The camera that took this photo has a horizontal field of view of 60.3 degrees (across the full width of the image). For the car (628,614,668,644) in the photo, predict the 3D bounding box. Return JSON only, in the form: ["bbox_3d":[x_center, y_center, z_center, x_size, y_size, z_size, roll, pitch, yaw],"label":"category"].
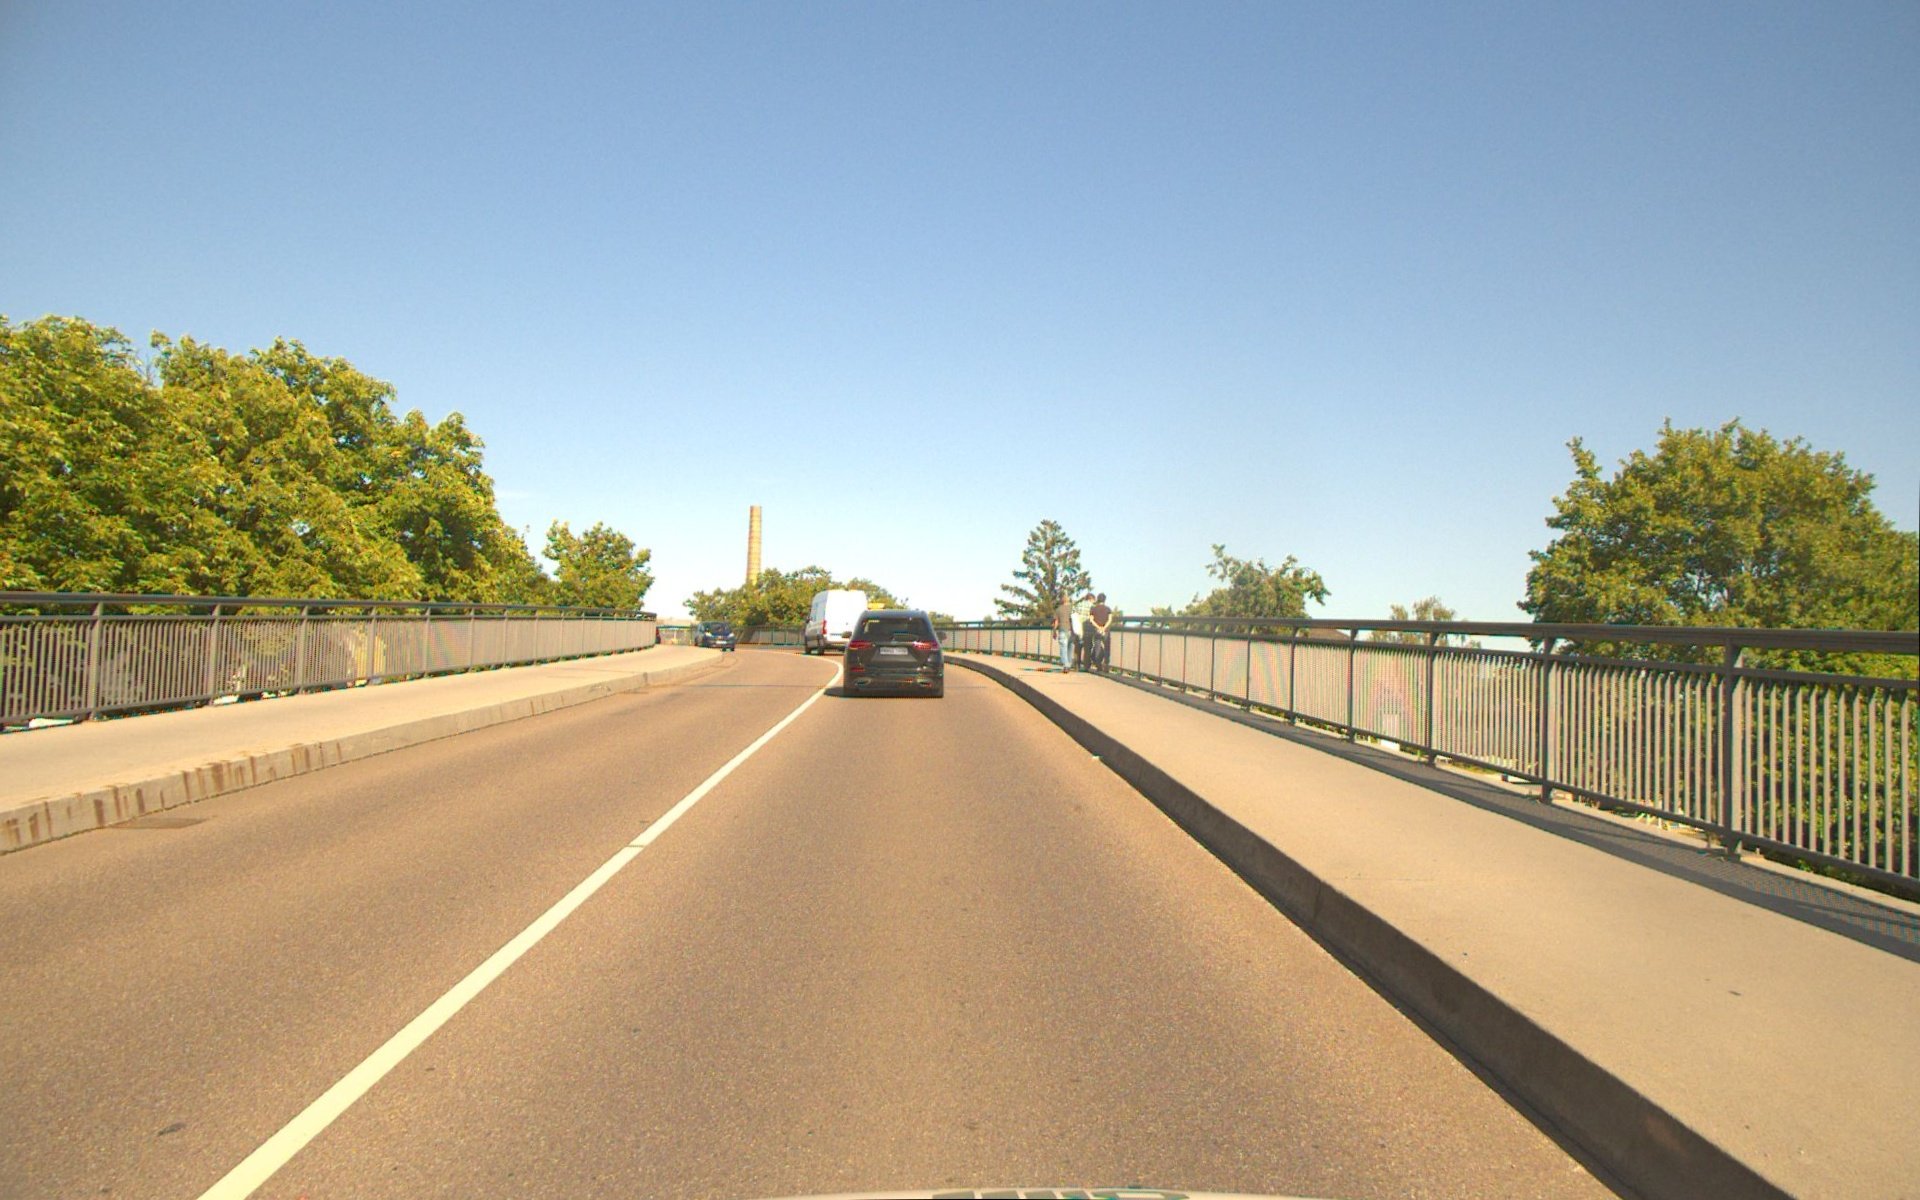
[{"bbox_3d":[-20.920,1.955,110.840,1.822,1.829,3.972,0,1,-23],"label":"car"}]

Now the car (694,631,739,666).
[{"bbox_3d":[-12.111,2.414,82.460,1.734,1.620,3.987,2,-1,-2],"label":"car"}]

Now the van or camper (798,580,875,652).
[{"bbox_3d":[-5.346,0.770,70.724,2.188,2.787,7.055,2,-3,-13],"label":"van or camper"}]

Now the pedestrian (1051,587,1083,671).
[{"bbox_3d":[2.330,0.645,35.977,0.590,1.781,0.716,2,-3,-1],"label":"pedestrian"}]

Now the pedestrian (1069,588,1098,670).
[{"bbox_3d":[2.754,0.657,36.903,0.538,1.781,0.738,2,-3,-1],"label":"pedestrian"}]

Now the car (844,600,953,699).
[{"bbox_3d":[-1.180,0.840,30.023,1.735,1.620,3.985,2,0,-5],"label":"car"}]

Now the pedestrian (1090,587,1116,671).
[{"bbox_3d":[3.120,0.640,36.126,0.462,1.781,0.653,2,-3,-1],"label":"pedestrian"}]
